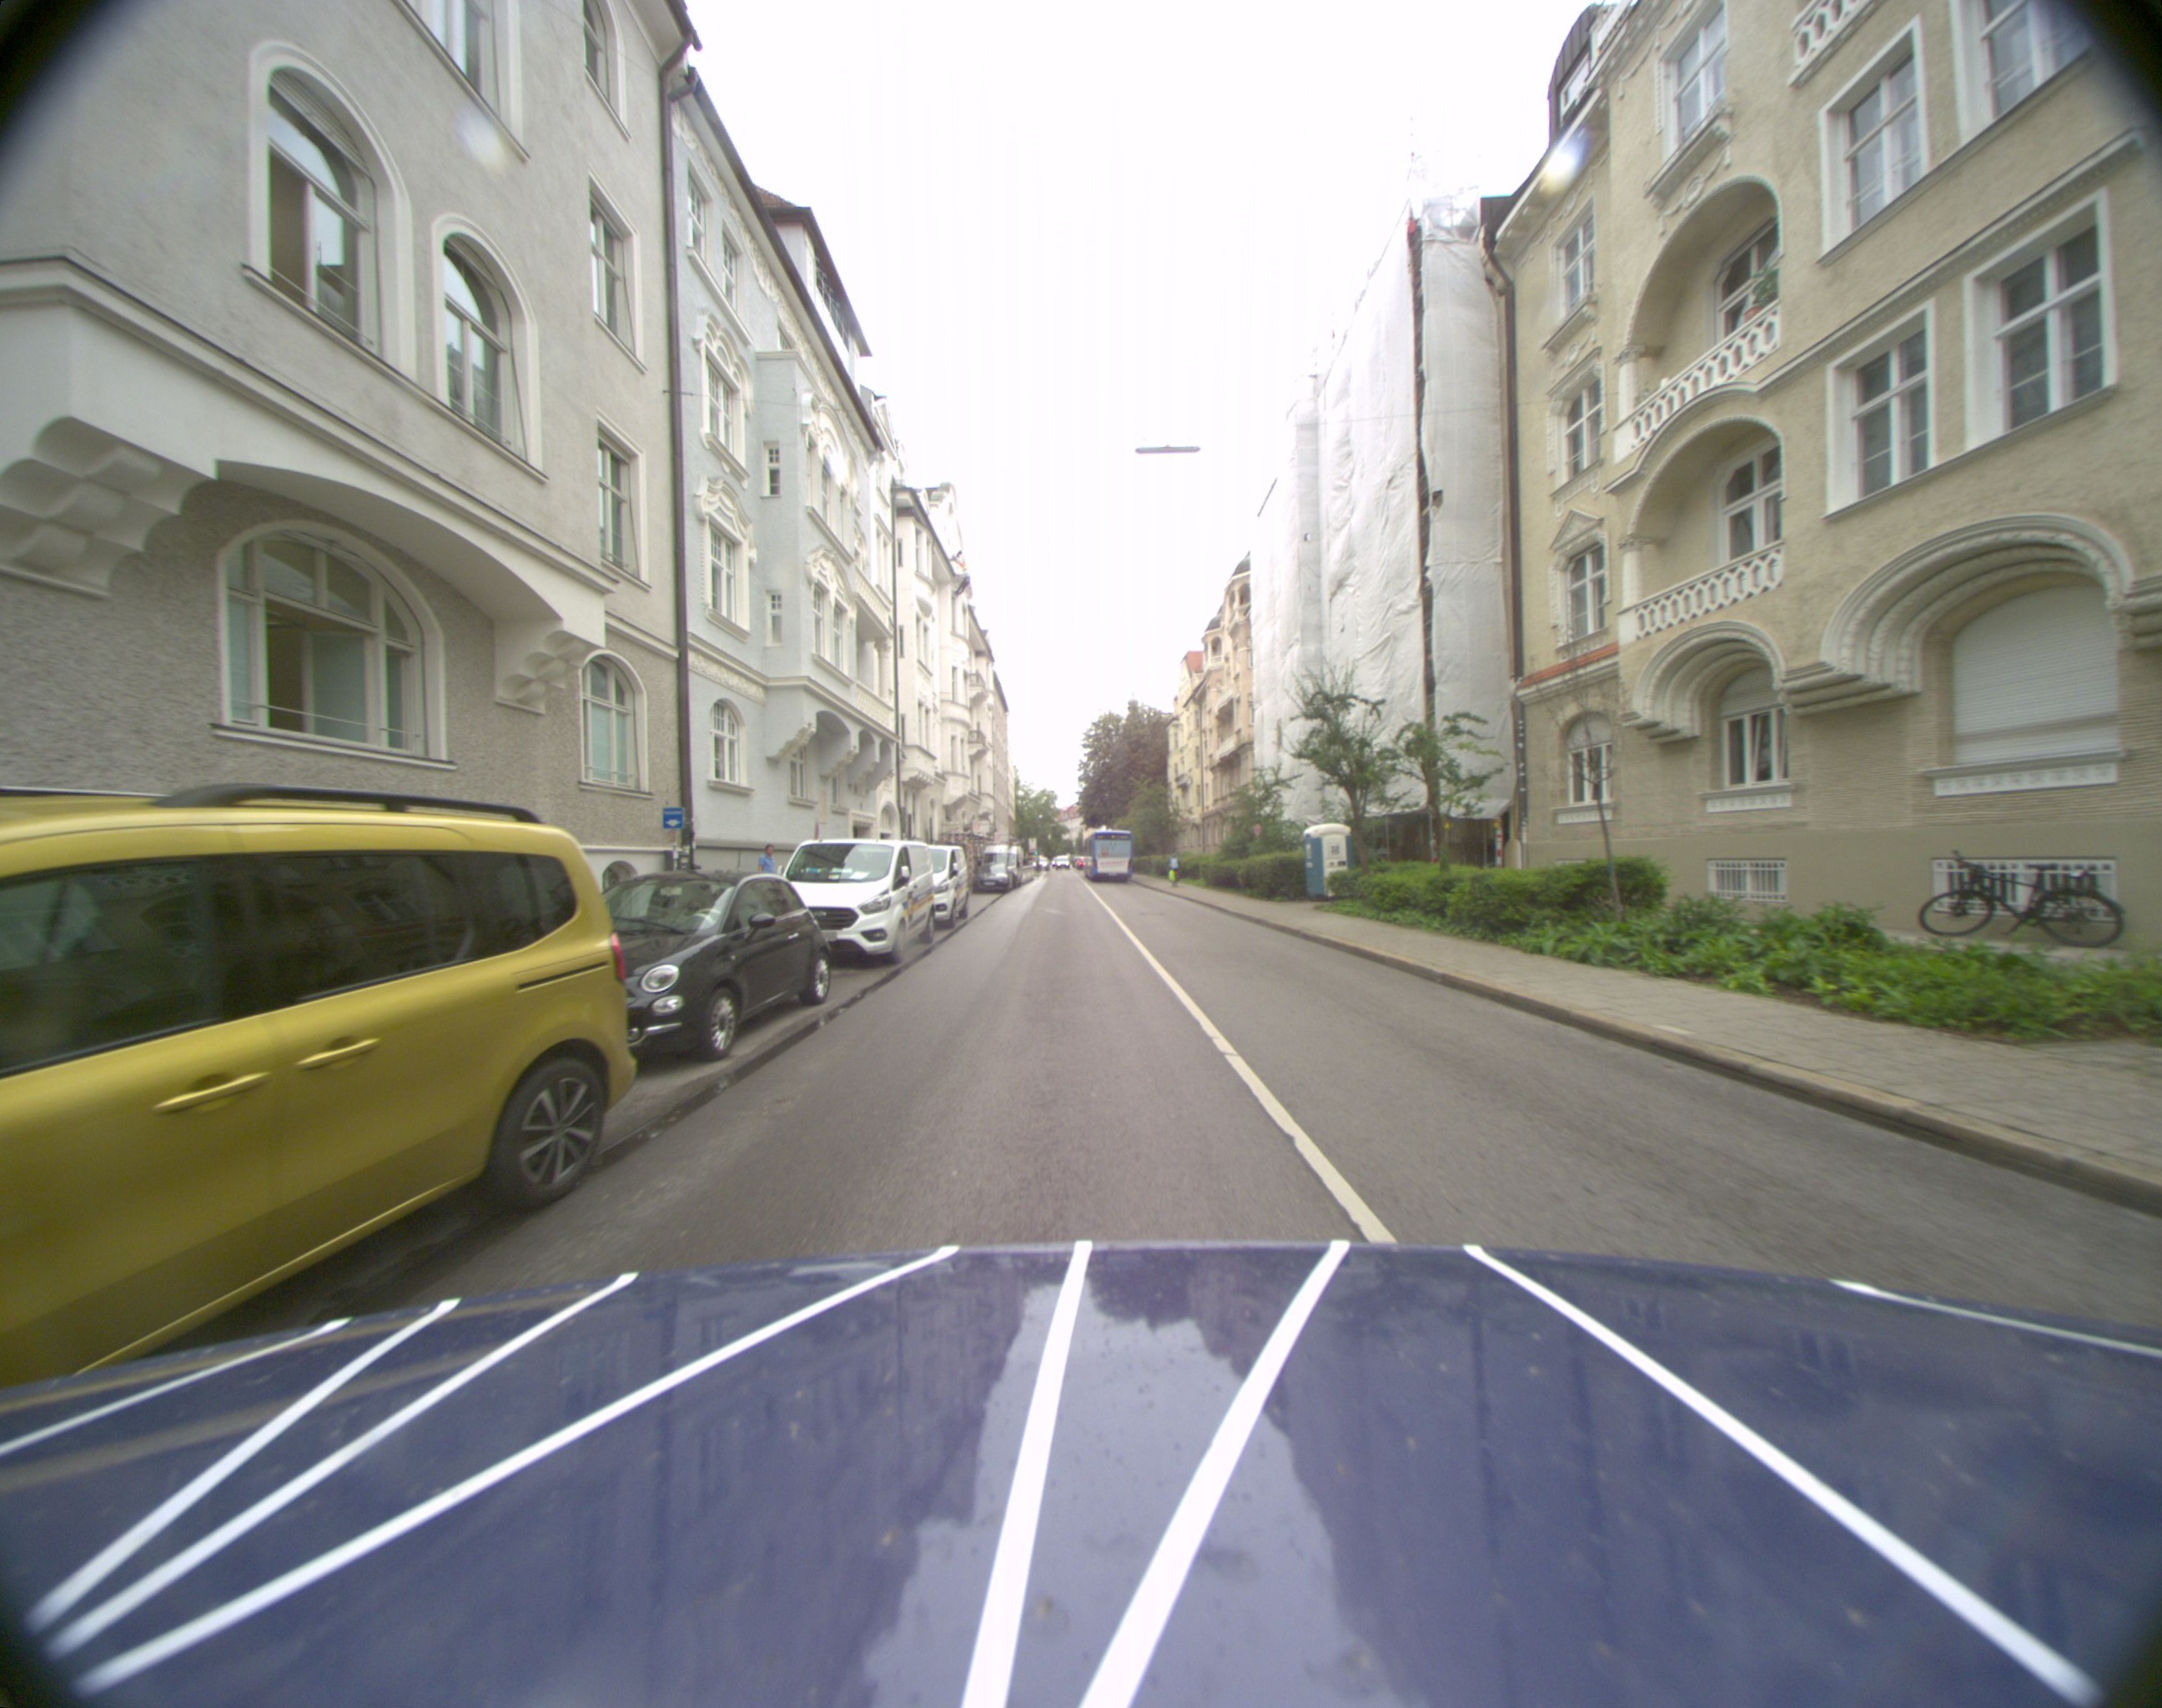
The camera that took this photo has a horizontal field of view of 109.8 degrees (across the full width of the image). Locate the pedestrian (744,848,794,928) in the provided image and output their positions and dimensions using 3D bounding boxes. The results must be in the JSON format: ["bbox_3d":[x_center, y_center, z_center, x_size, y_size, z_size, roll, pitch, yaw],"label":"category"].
[{"bbox_3d":[-7.609,0.818,18.562,0.853,1.892,0.746,-1,1,2],"label":"pedestrian"}]

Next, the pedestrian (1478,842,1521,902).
[{"bbox_3d":[12.537,0.535,22.790,0.771,1.736,0.773,-3,1,-3],"label":"pedestrian"}]

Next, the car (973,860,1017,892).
[{"bbox_3d":[-4.236,1.057,37.970,1.792,1.399,4.244,-1,0,-1],"label":"car"}]

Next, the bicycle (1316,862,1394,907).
[{"bbox_3d":[7.660,0.849,21.303,1.864,1.071,0.690,-5,0,1],"label":"bicycle"}]

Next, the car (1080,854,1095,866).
[{"bbox_3d":[0.807,0.720,94.988,1.723,1.398,4.001,-1,0,3],"label":"car"}]

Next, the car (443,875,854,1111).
[{"bbox_3d":[-3.608,1.031,7.263,1.637,1.505,3.885,-2,0,0],"label":"car"}]

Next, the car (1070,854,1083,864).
[{"bbox_3d":[-0.696,0.753,116.103,1.723,1.398,4.001,-1,0,3],"label":"car"}]

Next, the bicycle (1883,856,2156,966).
[{"bbox_3d":[11.664,0.643,9.590,0.823,1.199,2.077,-3,0,-1],"label":"bicycle"}]

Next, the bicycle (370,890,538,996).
[{"bbox_3d":[-7.873,1.075,9.659,0.668,1.126,1.722,-1,0,0],"label":"bicycle"}]

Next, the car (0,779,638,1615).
[{"bbox_3d":[-3.476,0.800,1.832,1.998,1.907,4.571,-1,0,2],"label":"car"}]

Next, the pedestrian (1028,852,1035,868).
[{"bbox_3d":[-5.722,0.689,87.965,0.826,1.849,0.820,-2,0,-2],"label":"pedestrian"}]

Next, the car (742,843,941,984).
[{"bbox_3d":[-3.768,0.825,13.006,1.999,1.907,4.885,-1,0,-2],"label":"car"}]

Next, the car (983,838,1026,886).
[{"bbox_3d":[-4.433,0.433,44.796,2.082,2.673,5.444,0,0,-1],"label":"car"}]

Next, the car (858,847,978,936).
[{"bbox_3d":[-3.931,0.825,19.226,1.999,1.907,4.877,-1,0,-1],"label":"car"}]

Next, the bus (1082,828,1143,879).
[{"bbox_3d":[2.007,-0.056,56.569,3.180,3.193,18.053,0,0,-2],"label":"bus"}]

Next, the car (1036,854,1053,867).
[{"bbox_3d":[-4.602,0.793,97.077,1.723,1.622,4.001,-1,0,3],"label":"car"}]

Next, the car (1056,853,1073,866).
[{"bbox_3d":[-2.159,0.665,100.989,1.919,1.648,4.602,-1,0,2],"label":"car"}]

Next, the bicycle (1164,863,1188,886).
[{"bbox_3d":[4.700,1.009,37.726,0.770,1.075,2.049,-3,0,-3],"label":"bicycle"}]

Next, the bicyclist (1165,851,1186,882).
[{"bbox_3d":[4.672,0.615,37.698,0.770,1.484,1.060,-3,1,-3],"label":"bicyclist"}]
